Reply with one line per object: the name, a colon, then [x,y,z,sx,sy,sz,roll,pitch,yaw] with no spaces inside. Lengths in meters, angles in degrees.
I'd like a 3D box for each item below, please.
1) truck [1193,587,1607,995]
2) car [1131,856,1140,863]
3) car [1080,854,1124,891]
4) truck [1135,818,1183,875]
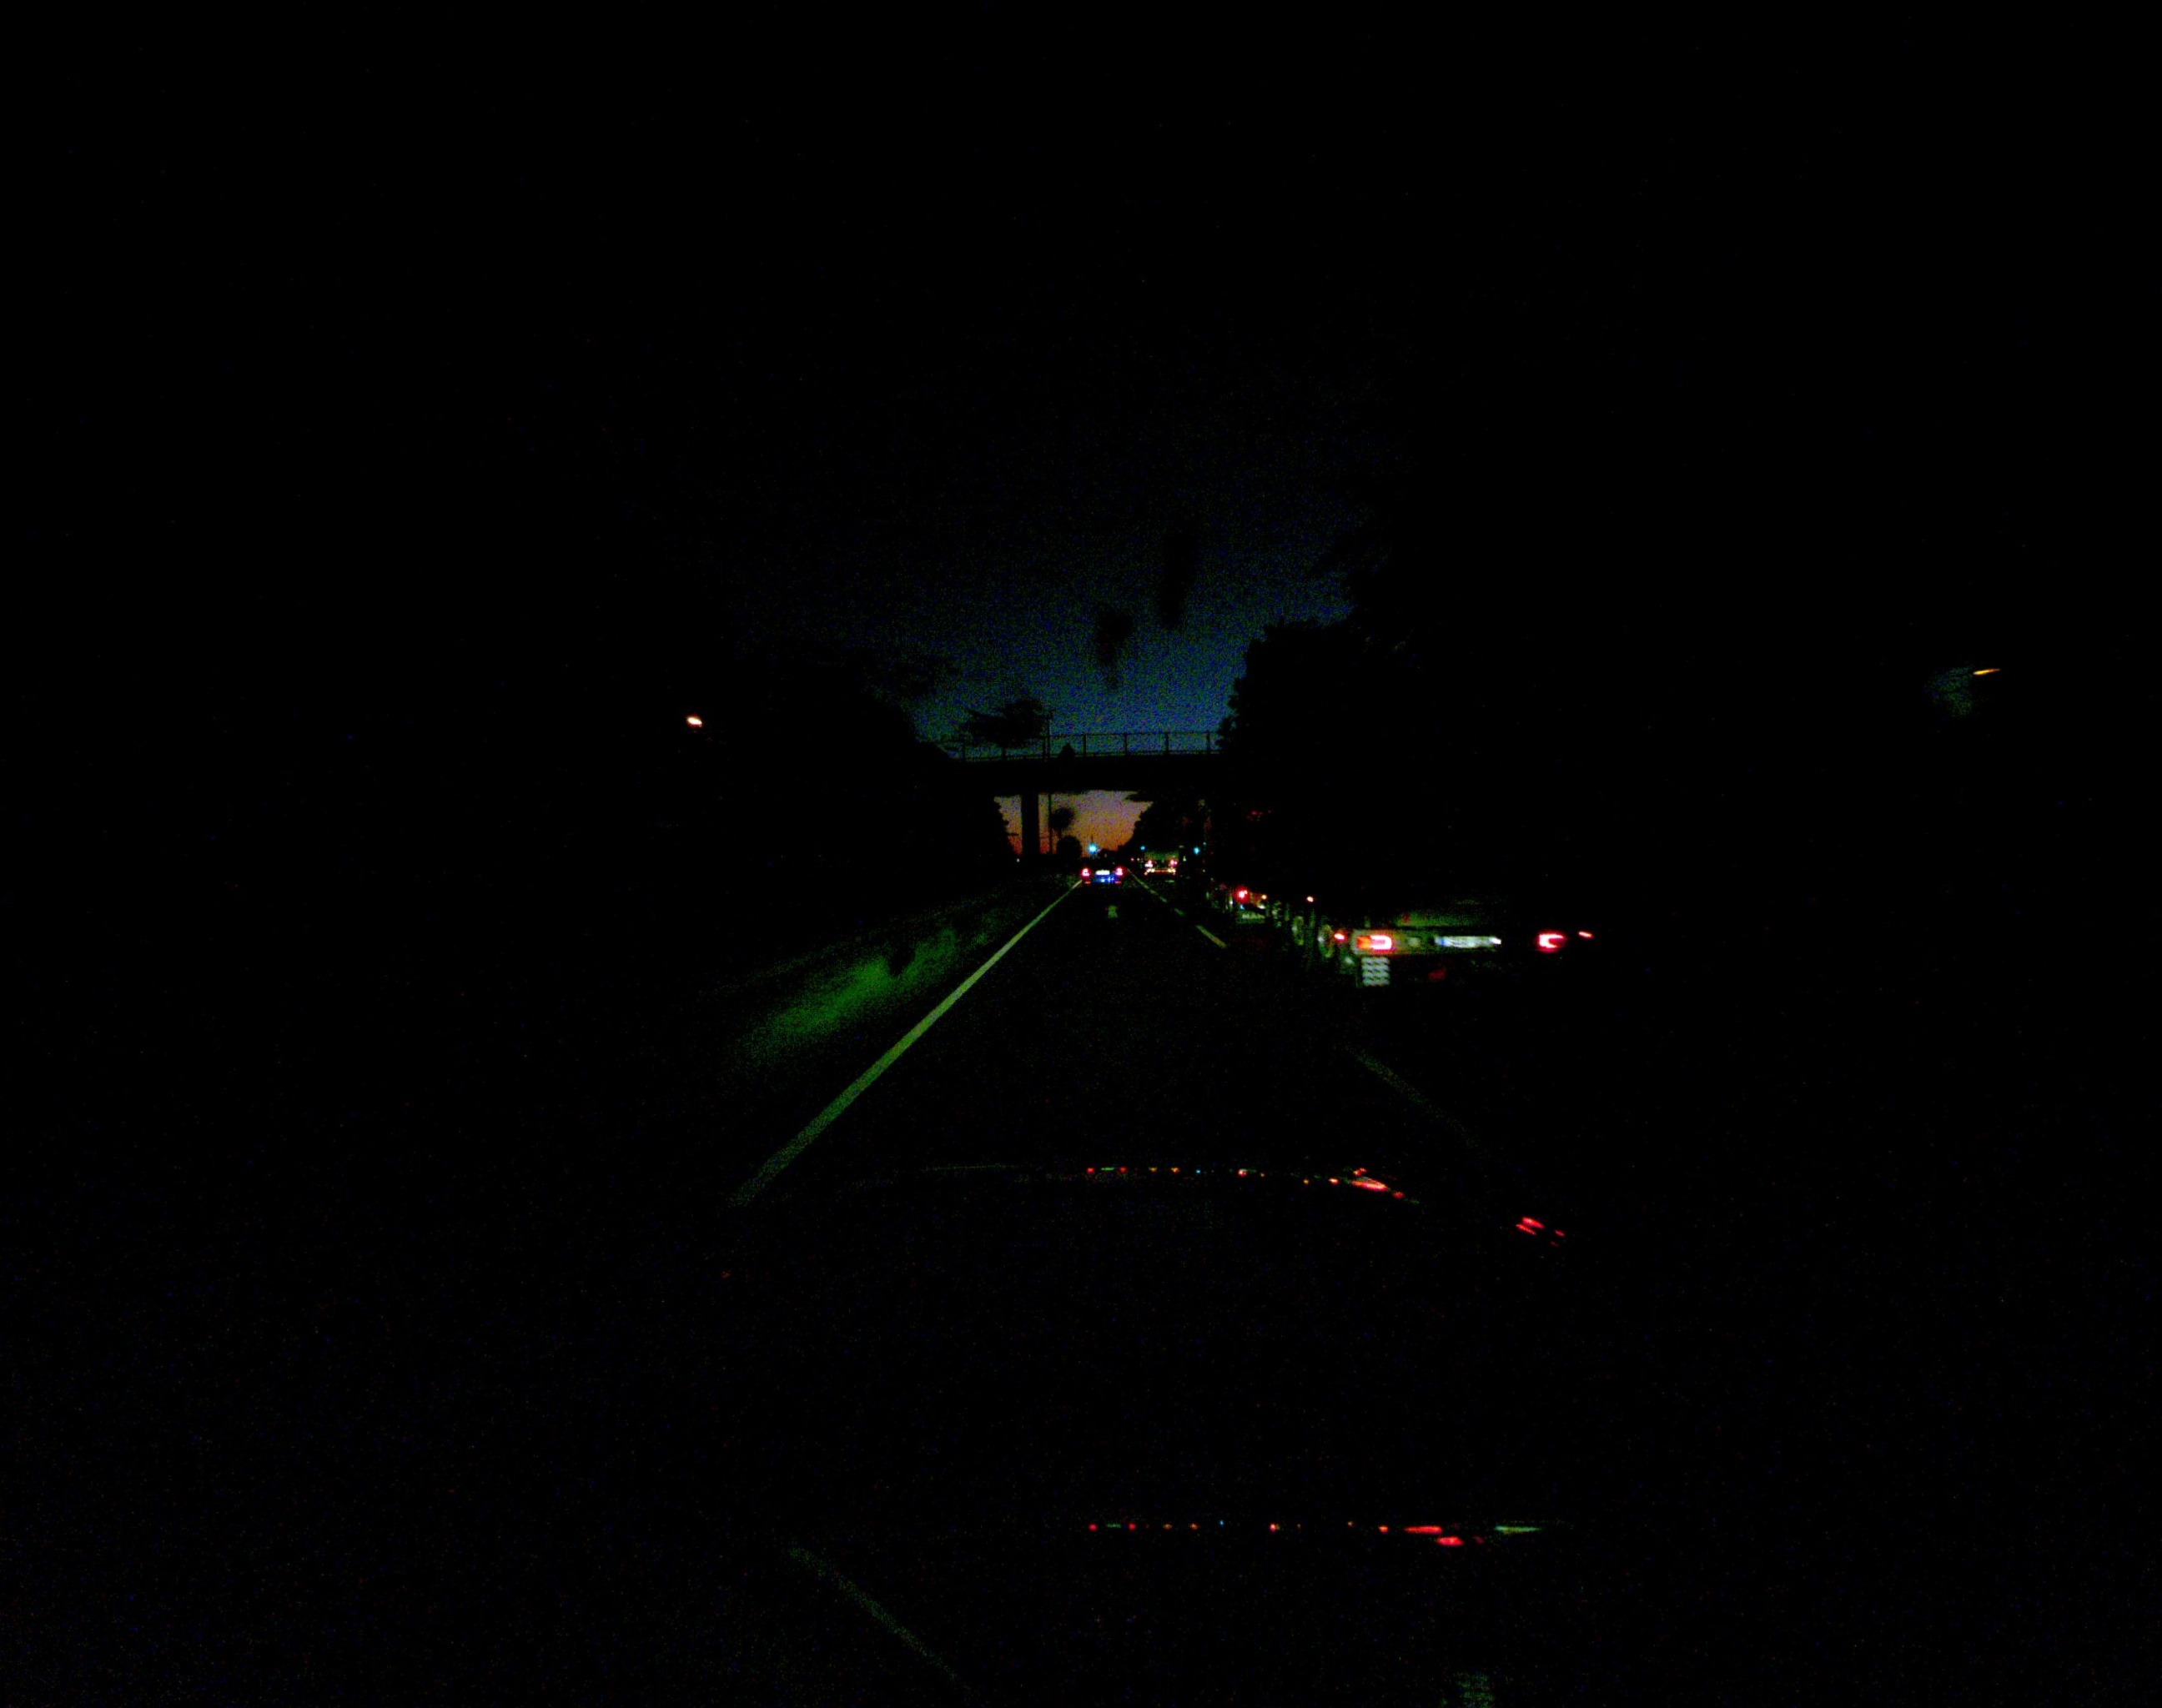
truck: [4.125,-0.604,14.821,2.677,4.106,13.145,-1,0,2]
car: [11.205,1.111,168.407,1.689,1.452,3.915,-1,0,1]
car: [0.873,0.731,33.787,1.689,1.452,3.915,-1,0,1]
truck: [6.038,-0.514,64.846,2.872,4.106,12.687,-1,0,2]
